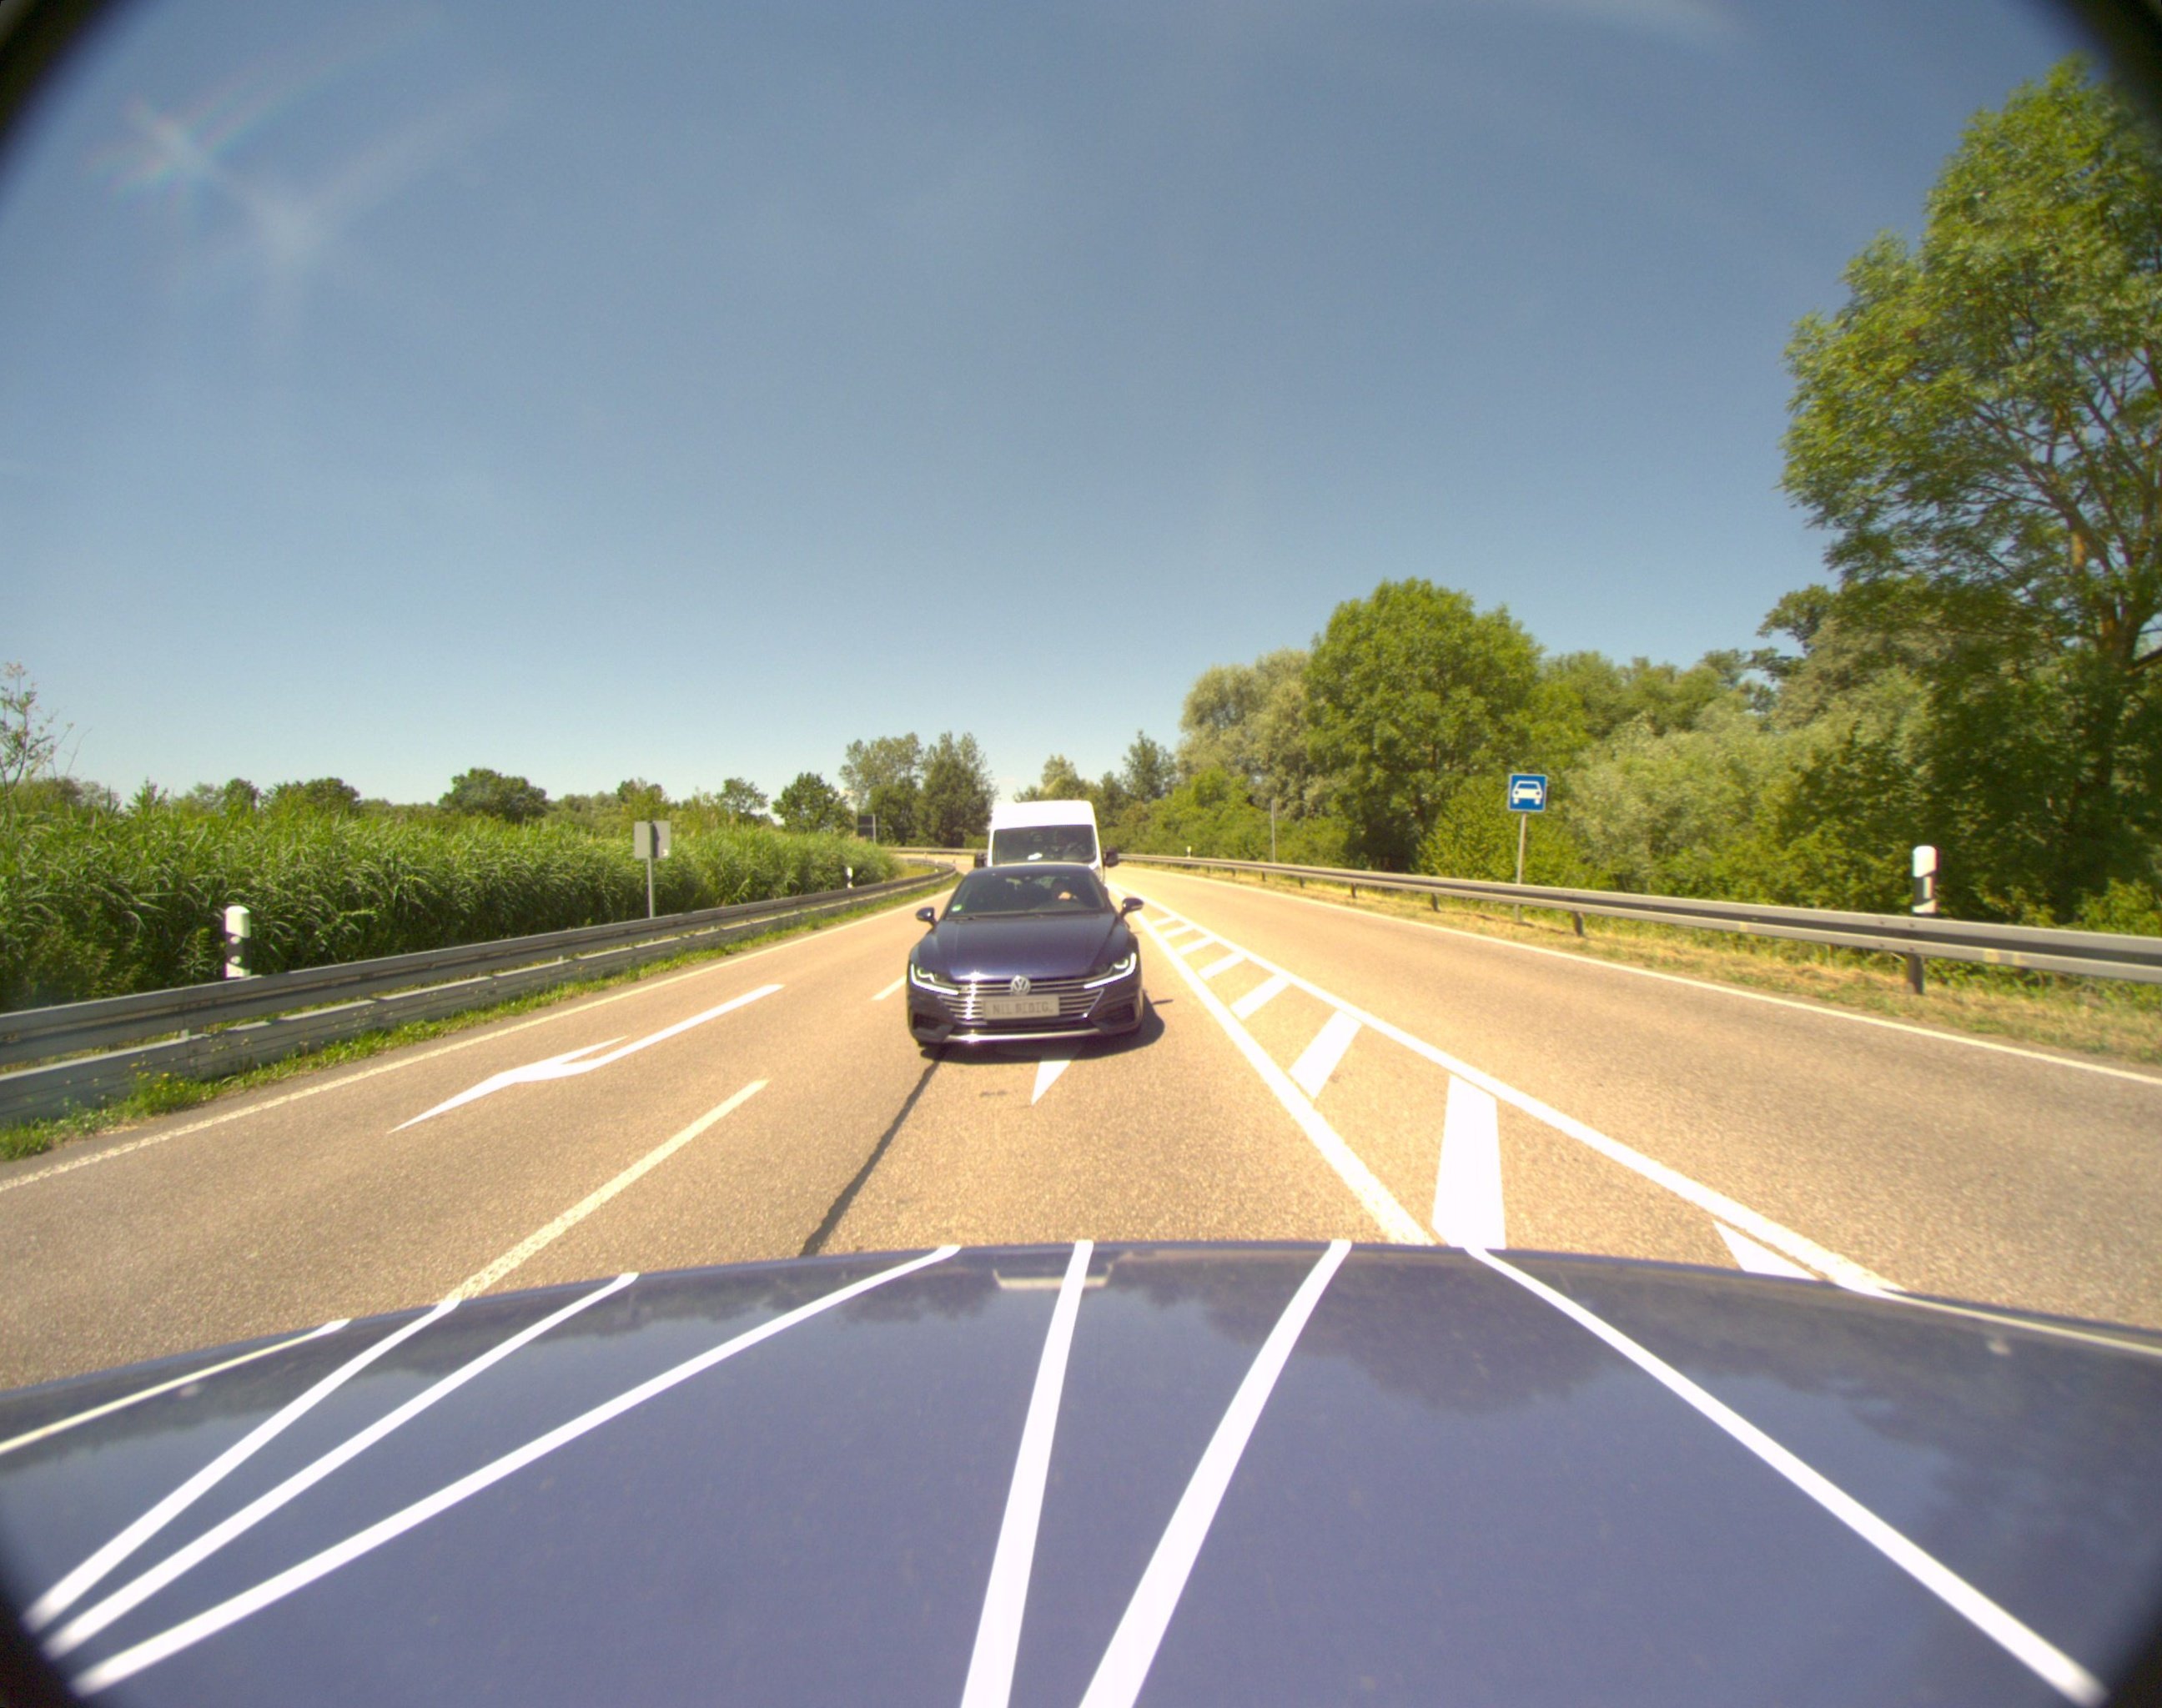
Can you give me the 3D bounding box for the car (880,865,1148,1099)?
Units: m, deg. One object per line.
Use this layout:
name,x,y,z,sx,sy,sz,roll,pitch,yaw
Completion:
car,-0.431,0.902,7.149,1.761,1.401,3.999,-2,1,1

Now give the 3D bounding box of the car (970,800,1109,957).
car,-0.614,0.342,14.726,2.059,2.376,5.826,-2,1,1
